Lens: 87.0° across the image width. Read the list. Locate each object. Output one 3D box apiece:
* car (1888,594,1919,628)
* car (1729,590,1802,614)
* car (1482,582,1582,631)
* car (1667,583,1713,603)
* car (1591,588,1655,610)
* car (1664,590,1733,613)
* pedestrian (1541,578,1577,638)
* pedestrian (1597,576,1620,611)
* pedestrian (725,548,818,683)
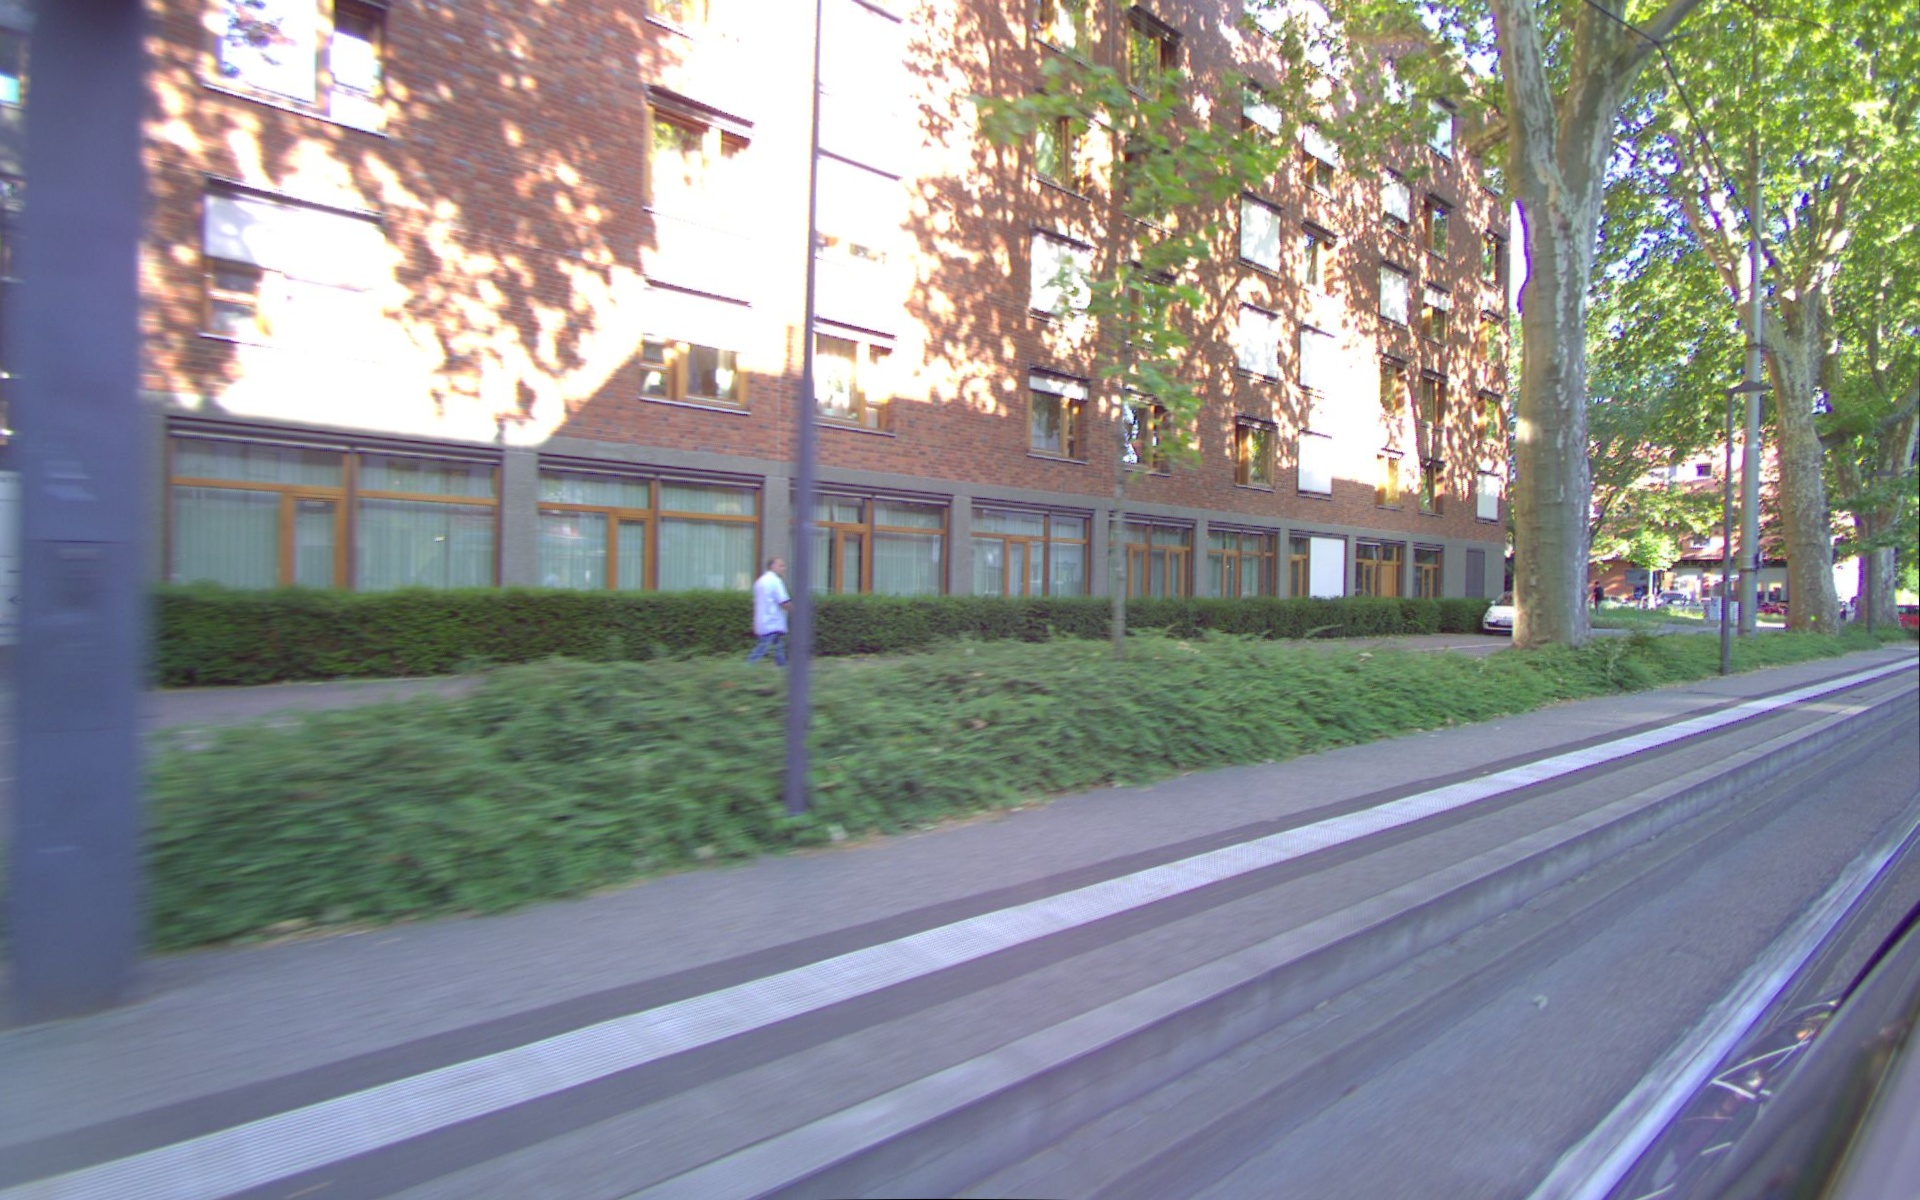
[{"bbox_3d":[45.642,0.527,46.753,1.964,1.549,3.872,0,1,-39],"label":"car"},{"bbox_3d":[56.304,0.127,70.786,1.964,1.549,3.674,0,1,-39],"label":"car"},{"bbox_3d":[18.908,0.191,33.396,3.892,1.527,1.657,0,1,-41],"label":"car"},{"bbox_3d":[58.327,-0.528,80.837,3.610,1.549,1.999,0,1,-38],"label":"car"},{"bbox_3d":[50.729,-0.068,77.480,1.964,1.549,3.674,0,1,-39],"label":"car"},{"bbox_3d":[53.819,0.106,73.797,1.964,1.549,3.674,0,1,-39],"label":"car"},{"bbox_3d":[17.591,0.231,29.732,0.736,1.712,0.710,0,1,-42],"label":"pedestrian"},{"bbox_3d":[32.160,-0.333,50.182,0.689,1.735,0.691,1,1,-33],"label":"pedestrian"},{"bbox_3d":[-2.452,0.177,13.157,0.901,1.680,0.768,0,1,-41],"label":"pedestrian"}]
